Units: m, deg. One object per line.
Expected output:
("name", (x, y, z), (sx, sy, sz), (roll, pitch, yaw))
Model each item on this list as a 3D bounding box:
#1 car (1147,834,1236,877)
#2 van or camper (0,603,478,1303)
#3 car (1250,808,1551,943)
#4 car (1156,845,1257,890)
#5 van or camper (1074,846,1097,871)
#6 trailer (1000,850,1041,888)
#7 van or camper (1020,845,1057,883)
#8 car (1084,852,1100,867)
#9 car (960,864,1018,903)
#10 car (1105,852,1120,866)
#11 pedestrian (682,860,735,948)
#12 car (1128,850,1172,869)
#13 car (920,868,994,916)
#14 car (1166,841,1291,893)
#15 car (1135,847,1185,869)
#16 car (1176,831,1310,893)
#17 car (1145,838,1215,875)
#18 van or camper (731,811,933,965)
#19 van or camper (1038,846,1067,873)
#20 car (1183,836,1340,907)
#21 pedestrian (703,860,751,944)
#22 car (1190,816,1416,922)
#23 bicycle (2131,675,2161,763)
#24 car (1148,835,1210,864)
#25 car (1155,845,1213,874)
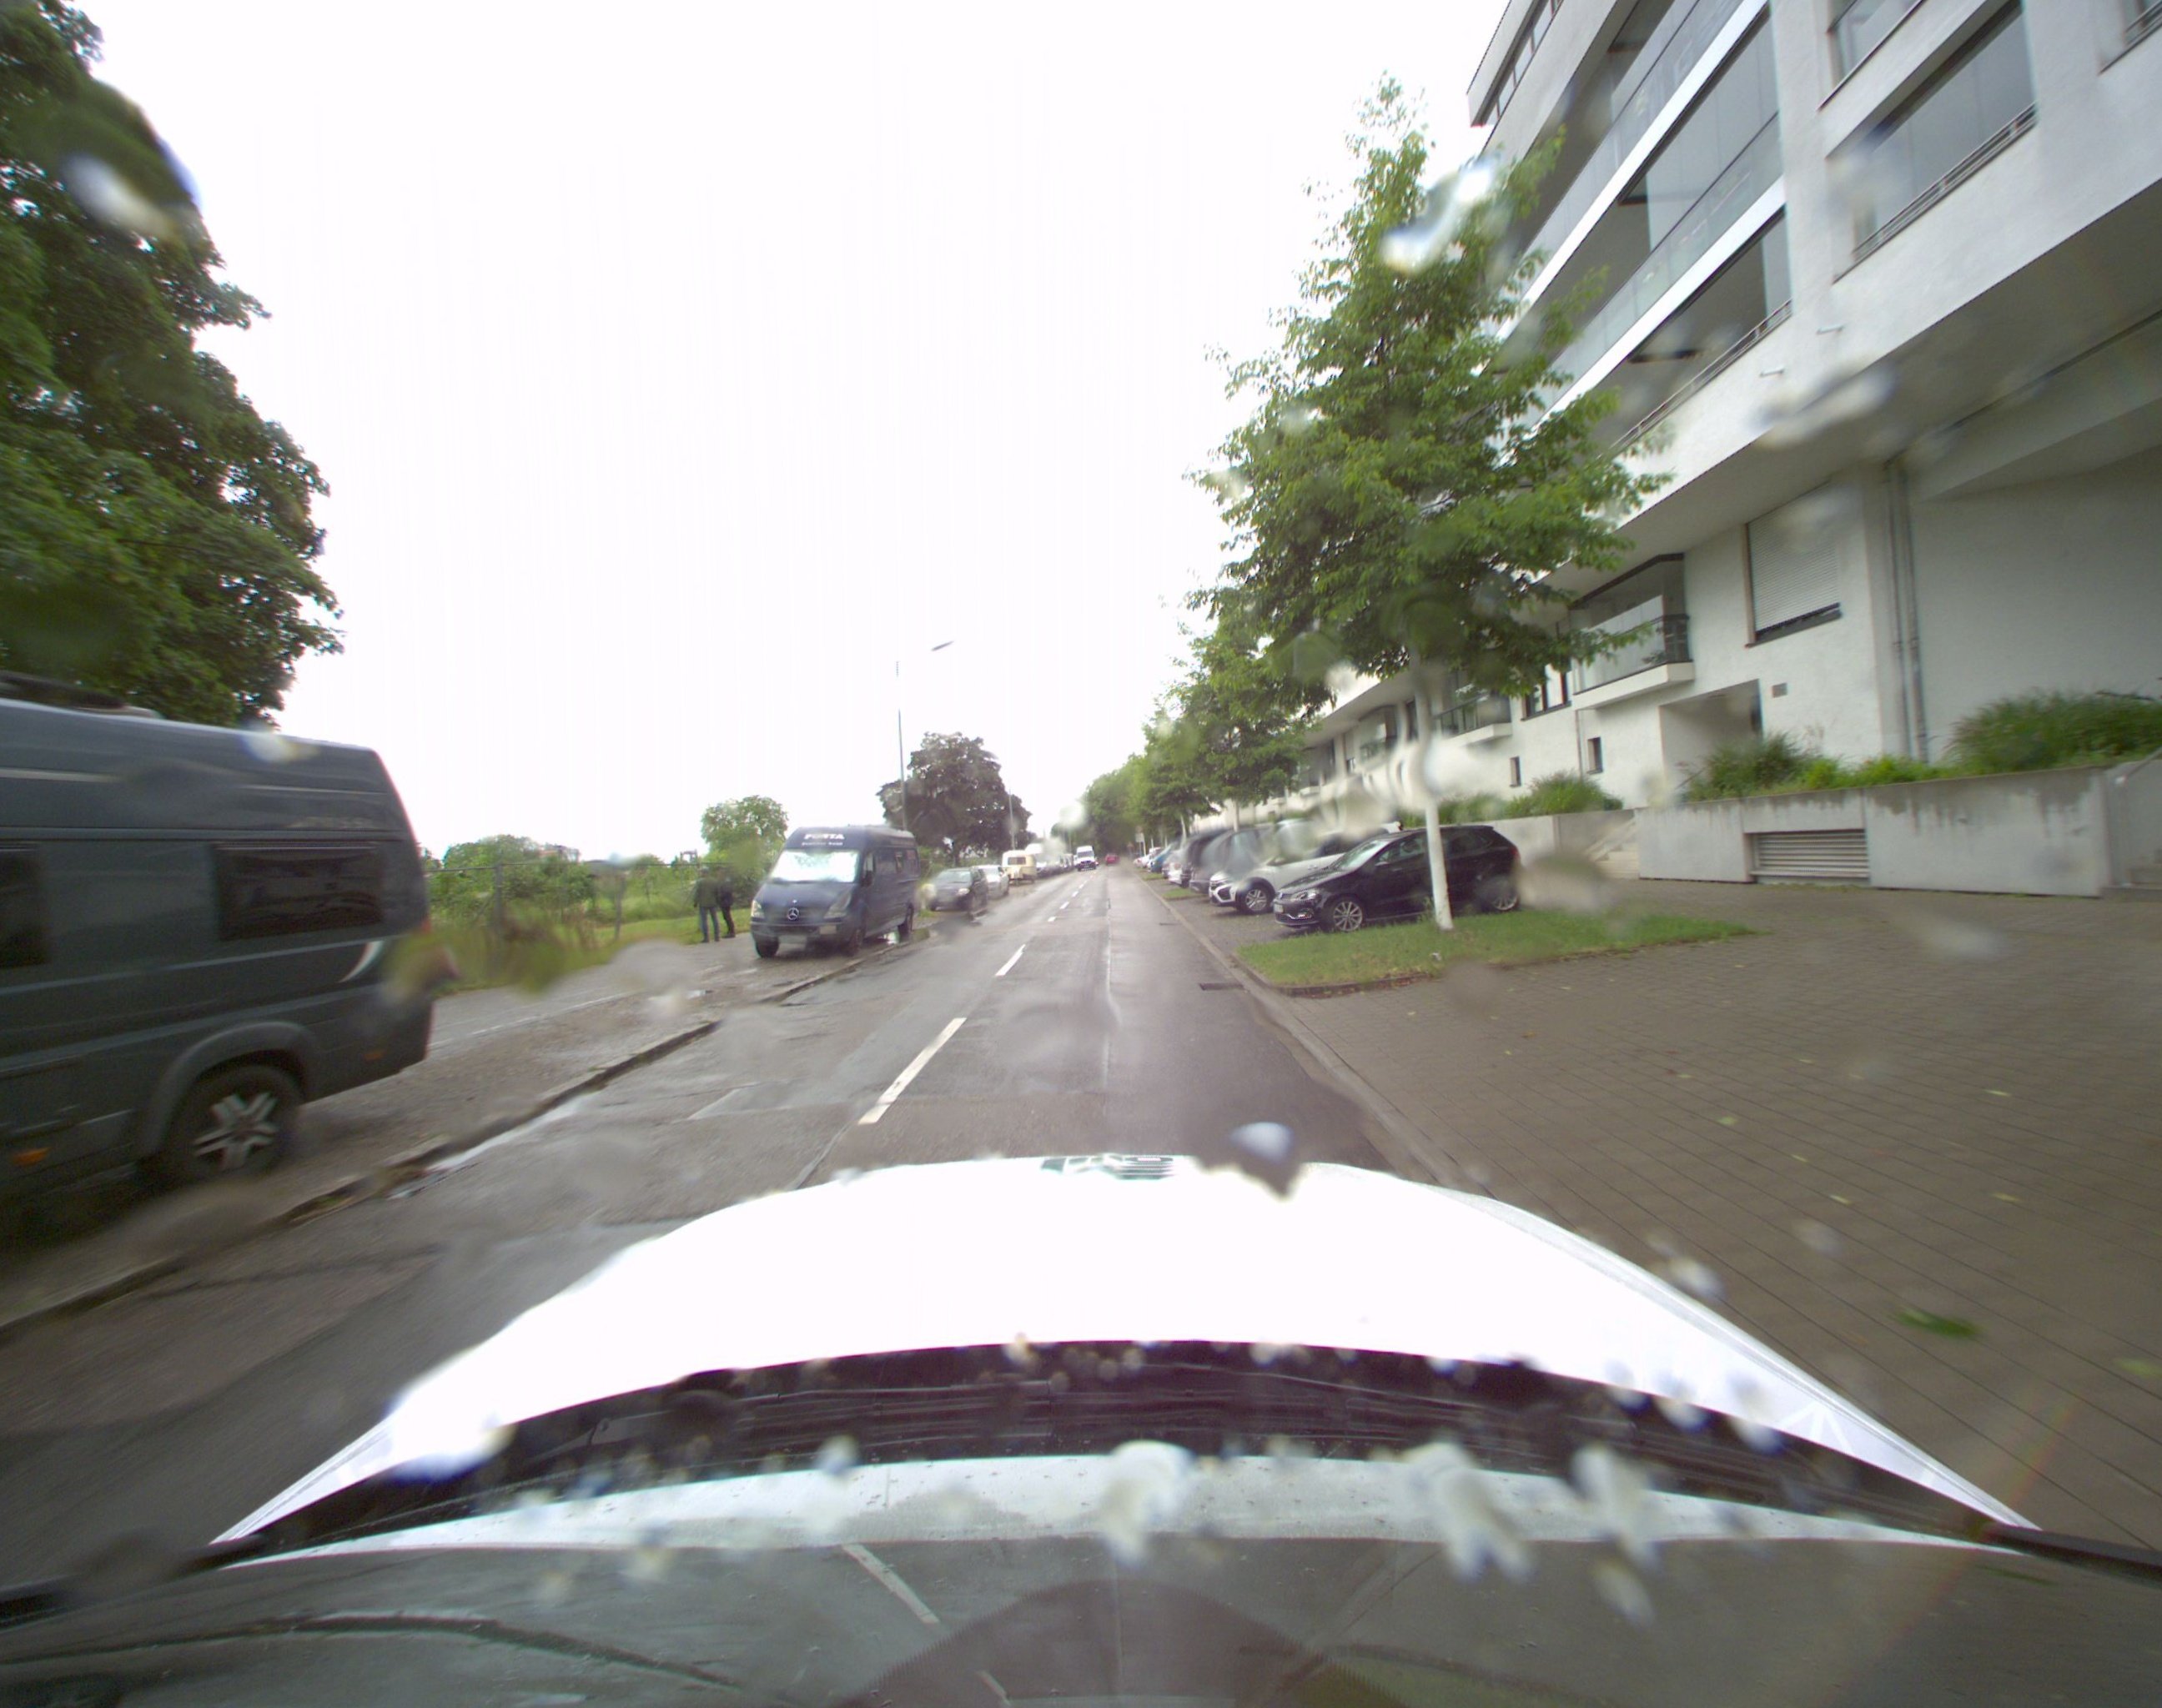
("car", (6.169, 0.083, 45.766), (4.607, 2.019, 1.856), (-5, 0, -3))
("van or camper", (-5.841, 0.453, 3.124), (2.087, 3.094, 6.425), (-2, -1, 1))
("car", (5.015, 0.315, 13.194), (3.977, 1.495, 1.936), (-8, 0, -2))
("car", (5.445, 0.574, 35.693), (4.019, 1.499, 1.631), (-6, 0, -1))
("van or camper", (0.545, 0.535, 90.829), (1.985, 2.497, 7.183), (-6, 0, 3))
("trailer", (-3.865, 0.906, 53.062), (2.052, 2.218, 5.795), (-3, 0, 1))
("van or camper", (-3.312, 0.786, 65.344), (1.985, 2.762, 7.903), (-3, 0, 3))
("car", (1.511, 0.741, 111.833), (1.874, 1.757, 4.071), (-5, 0, 3))
("car", (-4.095, 1.280, 36.929), (1.880, 1.526, 5.111), (-2, 0, 1))
("car", (4.302, 0.723, 109.252), (1.749, 1.705, 4.004), (-5, -1, 4))
("pedestrian", (-8.883, 1.160, 19.467), (0.734, 2.013, 0.901), (-3, 0, 1))
("car", (6.928, 0.521, 82.415), (4.085, 1.575, 1.865), (-5, 0, -5))
("car", (-4.532, 1.358, 30.464), (1.767, 1.502, 4.831), (-3, 0, 3))
("car", (5.449, 0.473, 30.501), (4.286, 1.428, 1.636), (-6, 0, 0))
("car", (7.294, 0.361, 75.805), (4.372, 1.633, 2.006), (-5, 0, 1))
("car", (5.524, 0.261, 28.156), (4.150, 1.624, 1.897), (-6, 0, -1))
("car", (6.151, 0.147, 50.846), (4.077, 1.894, 1.728), (-6, 0, 3))
("van or camper", (-5.198, 0.664, 18.544), (2.087, 2.715, 7.574), (-2, -1, 1))
("van or camper", (-2.710, 0.534, 79.271), (2.180, 2.461, 6.381), (-3, 0, 3))
("car", (5.007, 0.465, 22.980), (3.973, 1.509, 1.685), (-6, 1, 1))
("pedestrian", (-8.906, 1.187, 20.529), (0.717, 2.013, 0.853), (-3, 0, 1))
("car", (4.929, 0.324, 18.540), (4.462, 1.686, 1.936), (-8, 0, 0))
("bicycle", (15.696, -1.895, 10.286), (2.932, 1.118, 0.920), (-4, -1, 18))
("car", (6.703, -0.275, 56.024), (3.875, 1.681, 1.862), (-4, 0, -4))
("car", (6.268, 0.332, 49.730), (3.244, 1.482, 1.317), (-5, 0, 0))
